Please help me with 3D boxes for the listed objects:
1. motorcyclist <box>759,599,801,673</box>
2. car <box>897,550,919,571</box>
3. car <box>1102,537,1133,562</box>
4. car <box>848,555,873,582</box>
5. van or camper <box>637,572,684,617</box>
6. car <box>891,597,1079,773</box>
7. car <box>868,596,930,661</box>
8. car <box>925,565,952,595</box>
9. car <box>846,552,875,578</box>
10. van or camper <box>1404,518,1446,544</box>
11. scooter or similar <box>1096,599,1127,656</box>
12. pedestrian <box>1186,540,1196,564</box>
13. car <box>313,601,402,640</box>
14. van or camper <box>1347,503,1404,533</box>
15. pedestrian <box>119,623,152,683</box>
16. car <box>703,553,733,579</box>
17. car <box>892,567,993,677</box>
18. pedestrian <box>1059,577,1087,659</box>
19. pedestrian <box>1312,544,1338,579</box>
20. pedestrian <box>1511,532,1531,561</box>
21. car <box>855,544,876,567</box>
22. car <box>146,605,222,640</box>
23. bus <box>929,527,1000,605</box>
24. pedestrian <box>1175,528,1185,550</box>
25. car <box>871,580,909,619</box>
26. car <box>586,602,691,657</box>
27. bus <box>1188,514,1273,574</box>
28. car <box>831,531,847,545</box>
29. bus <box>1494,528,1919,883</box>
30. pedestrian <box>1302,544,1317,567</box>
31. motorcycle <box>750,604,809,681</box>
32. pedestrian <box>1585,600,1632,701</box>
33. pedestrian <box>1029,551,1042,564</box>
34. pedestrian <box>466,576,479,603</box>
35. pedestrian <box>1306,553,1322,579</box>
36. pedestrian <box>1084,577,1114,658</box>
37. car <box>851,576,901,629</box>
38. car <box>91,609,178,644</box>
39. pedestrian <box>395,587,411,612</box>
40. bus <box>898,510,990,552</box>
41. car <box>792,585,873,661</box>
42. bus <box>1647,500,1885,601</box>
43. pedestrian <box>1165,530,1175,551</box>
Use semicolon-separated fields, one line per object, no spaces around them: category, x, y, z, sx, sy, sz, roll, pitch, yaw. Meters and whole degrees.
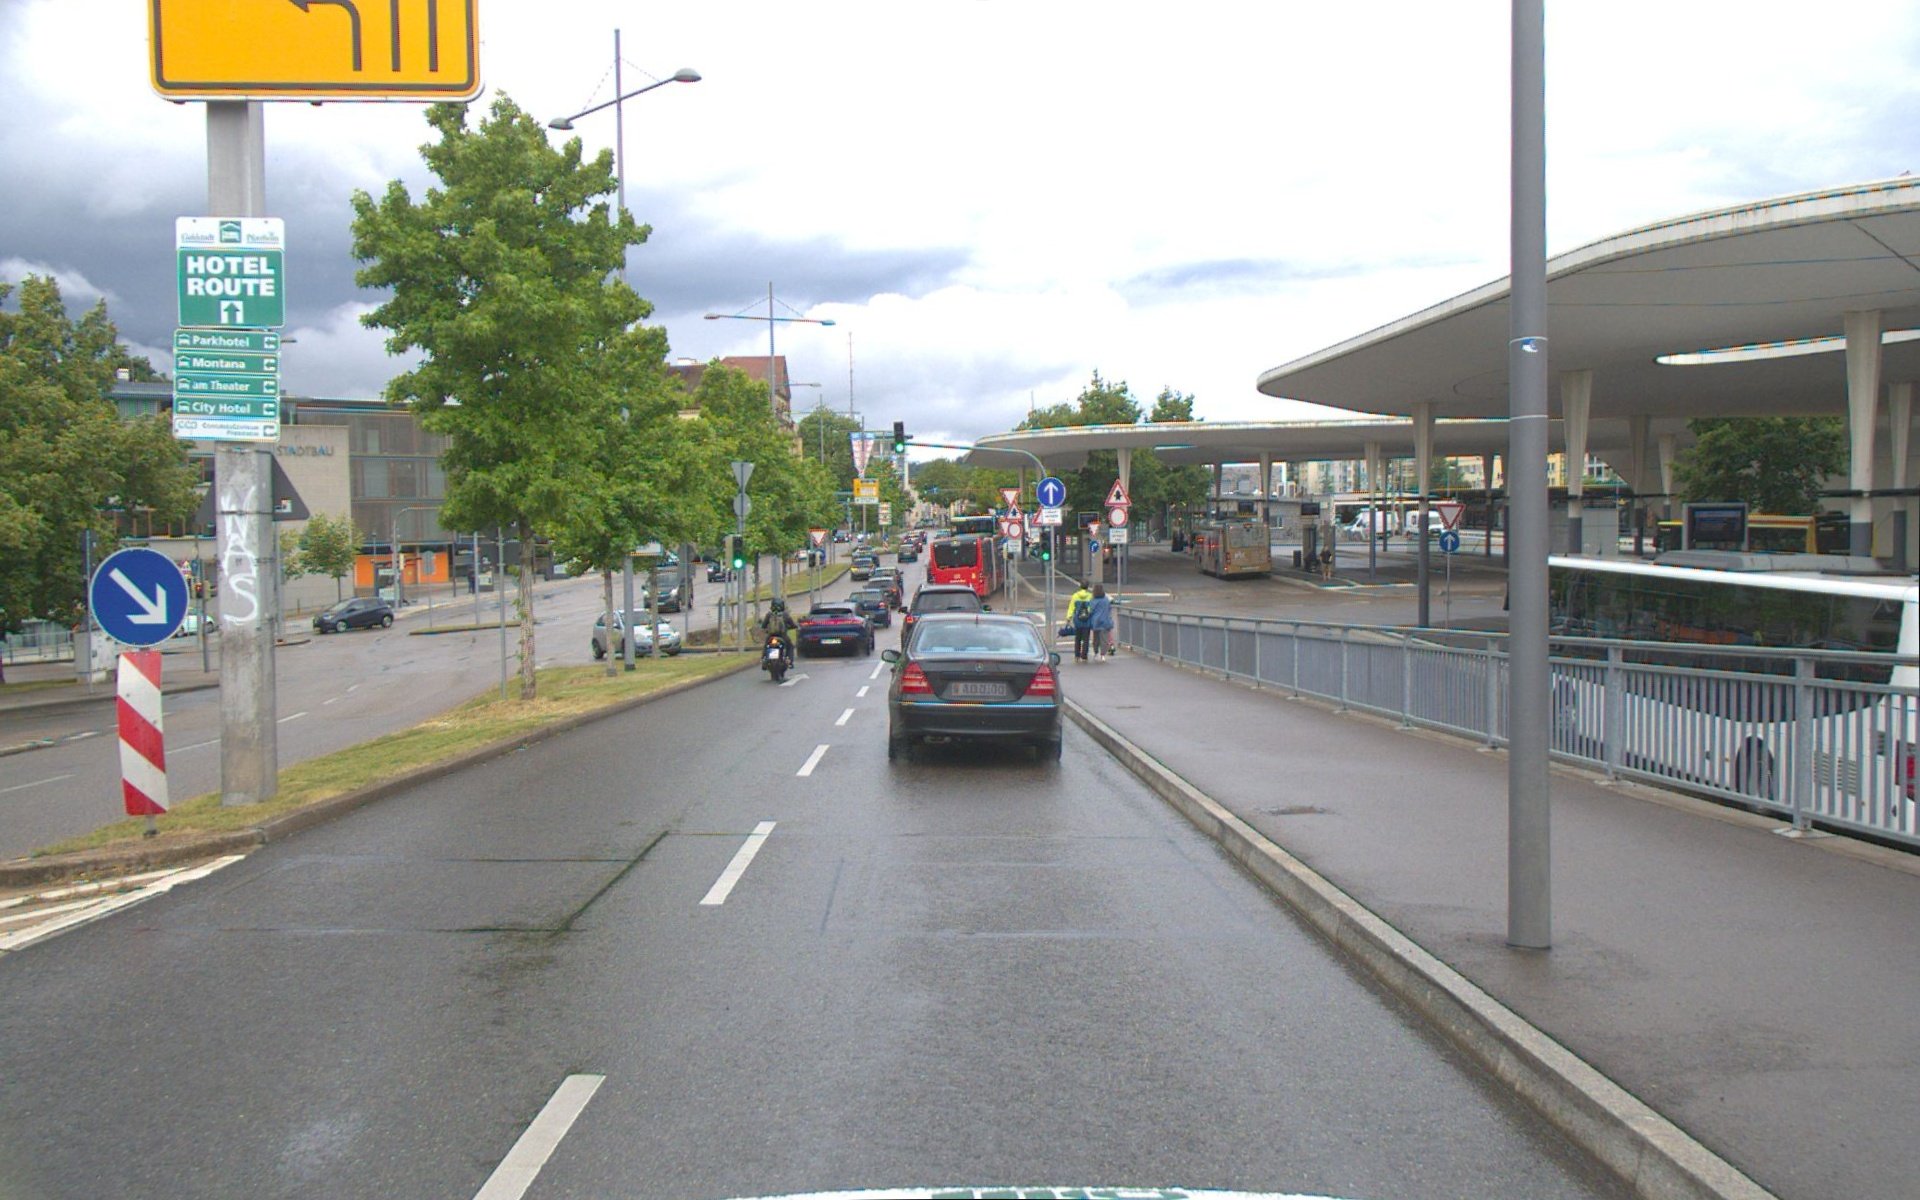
motorcyclist;-3.502;0.694;32.196;0.628;1.370;0.689;-3;3;3
car;-4.482;-3.405;142.725;1.828;1.713;3.999;1;0;-1
car;11.449;-3.724;120.568;1.677;1.690;4.240;-1;3;-2
car;-7.814;-2.464;130.480;1.761;1.940;3.639;1;0;-1
van or camper;-15.489;-0.269;85.751;2.176;2.108;5.272;-4;0;-9
car;0.186;0.758;16.997;1.663;1.487;4.303;-1;1;-1
car;-1.855;0.850;51.350;1.706;1.593;3.872;-4;3;-1
car;-1.371;-1.313;105.161;1.544;1.593;3.872;-4;3;-1
car;-6.827;-2.397;113.973;1.828;1.713;3.999;1;0;-1
van or camper;39.758;-5.886;141.531;1.953;2.139;5.479;1;1;-1
scooter or similar;3.435;0.614;37.605;0.454;1.242;1.859;-2;0;-1
pedestrian;17.000;-3.537;121.825;0.549;1.721;0.613;-2;3;-7
car;-29.482;0.974;80.938;3.637;1.463;1.805;-7;5;-38
van or camper;37.180;-7.301;147.908;4.514;2.602;2.118;1;1;-2
pedestrian;-22.915;1.473;45.955;0.642;1.597;0.627;-4;0;-19
car;-18.505;-2.595;126.703;1.871;1.690;4.856;-2;4;-4
car;-0.386;0.394;36.220;1.918;1.907;4.875;-4;3;-1
pedestrian;2.383;0.377;35.026;0.512;1.699;0.580;-1;0;-2
pedestrian;18.313;-1.922;82.912;0.709;1.712;1.013;-5;3;-26
pedestrian;32.317;-3.087;95.327;0.779;1.613;0.907;-1;2;-7
car;-8.362;-3.911;146.402;1.608;1.836;3.639;1;0;-1
car;-40.275;1.152;85.957;1.593;1.521;3.586;-2;3;14
bus;0.238;-1.848;83.896;3.219;3.348;10.881;-3;3;0
pedestrian;17.488;-4.850;131.732;0.569;1.746;0.559;1;-1;34
car;-3.361;-0.057;79.598;1.543;1.530;3.872;-4;3;0
car;-9.599;0.851;49.202;1.618;1.473;3.829;-5;2;-34
bus;15.522;-3.340;95.762;2.666;3.095;12.091;-3;3;-1
car;-15.885;-8.130;217.746;1.744;1.593;3.431;-4;3;-1
bus;11.189;0.877;23.595;2.787;3.419;12.429;1;4;-1
pedestrian;20.136;-2.574;95.309;0.776;1.247;0.634;-2;3;17
motorcycle;-3.499;0.802;32.150;0.776;1.283;1.856;-4;3;3
pedestrian;12.832;0.980;32.725;0.580;1.919;0.640;-3;5;-37
pedestrian;5.984;-3.373;131.236;0.894;1.002;0.634;-1;-1;13
pedestrian;-32.239;-0.708;109.322;0.464;1.712;0.764;-3;3;6
pedestrian;19.982;-1.916;93.266;0.776;1.401;0.634;-2;3;17
pedestrian;2.940;0.366;35.031;0.577;1.700;0.580;1;-2;-2
car;-3.155;0.081;62.845;1.642;1.650;3.872;-4;3;-1
car;-44.387;1.402;88.961;1.731;1.521;3.773;-1;4;37
pedestrian;-32.531;-0.049;96.555;0.665;1.416;0.721;-2;2;-3
bus;-1.777;-7.140;172.415;2.821;4.056;11.694;-5;3;-39
car;-3.393;0.576;44.708;1.779;1.597;4.405;-4;3;-1
bus;30.395;-2.071;63.233;2.732;3.312;12.141;-2;4;-2
pedestrian;16.693;-4.746;131.658;0.568;1.606;0.560;1;-1;29
